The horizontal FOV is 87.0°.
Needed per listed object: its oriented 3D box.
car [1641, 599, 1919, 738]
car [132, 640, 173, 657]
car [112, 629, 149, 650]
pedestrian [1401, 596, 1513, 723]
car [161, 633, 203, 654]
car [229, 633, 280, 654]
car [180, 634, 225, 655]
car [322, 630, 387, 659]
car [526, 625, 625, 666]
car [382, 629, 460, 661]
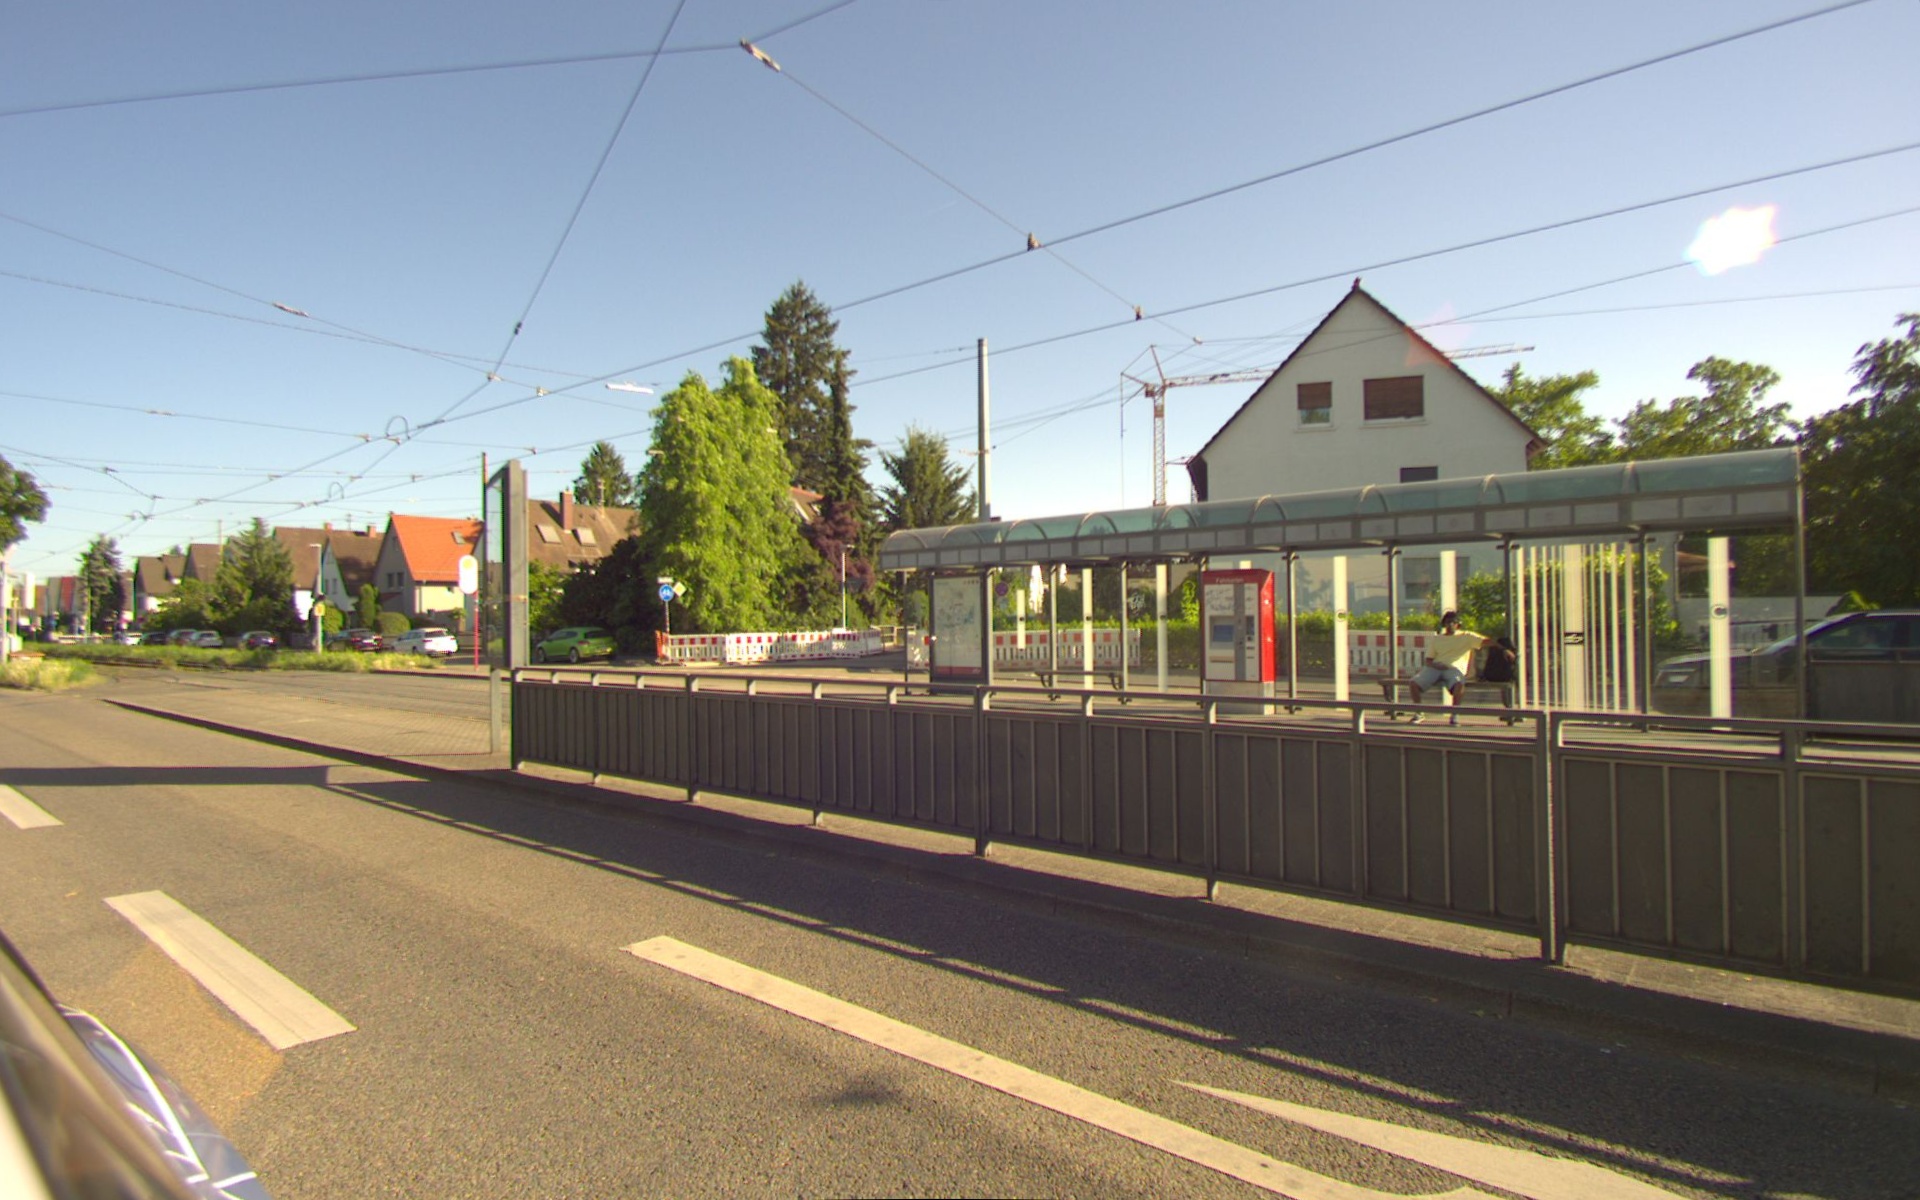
[{"bbox_3d":[10.863,0.772,12.089,4.341,1.532,1.717,-2,-2,41],"label":"car"},{"bbox_3d":[-71.818,4.266,89.975,4.980,1.351,1.973,-1,0,41],"label":"car"},{"bbox_3d":[-78.519,3.767,95.776,4.582,1.877,1.973,-2,-1,41],"label":"car"},{"bbox_3d":[6.115,0.709,12.445,1.006,1.464,1.050,-2,-2,40],"label":"pedestrian"},{"bbox_3d":[-63.150,3.536,82.138,4.534,1.573,1.864,-2,0,41],"label":"car"},{"bbox_3d":[-48.557,2.994,69.648,4.308,1.382,1.972,-2,-1,42],"label":"car"},{"bbox_3d":[-59.162,3.471,79.031,4.837,1.483,1.864,-2,0,42],"label":"car"},{"bbox_3d":[-34.276,2.472,57.232,4.439,1.477,1.887,-1,0,41],"label":"car"},{"bbox_3d":[-15.747,1.833,41.429,4.064,1.512,1.974,-1,0,38],"label":"car"},{"bbox_3d":[-27.140,2.224,50.930,4.610,1.483,1.865,-1,0,40],"label":"car"}]
